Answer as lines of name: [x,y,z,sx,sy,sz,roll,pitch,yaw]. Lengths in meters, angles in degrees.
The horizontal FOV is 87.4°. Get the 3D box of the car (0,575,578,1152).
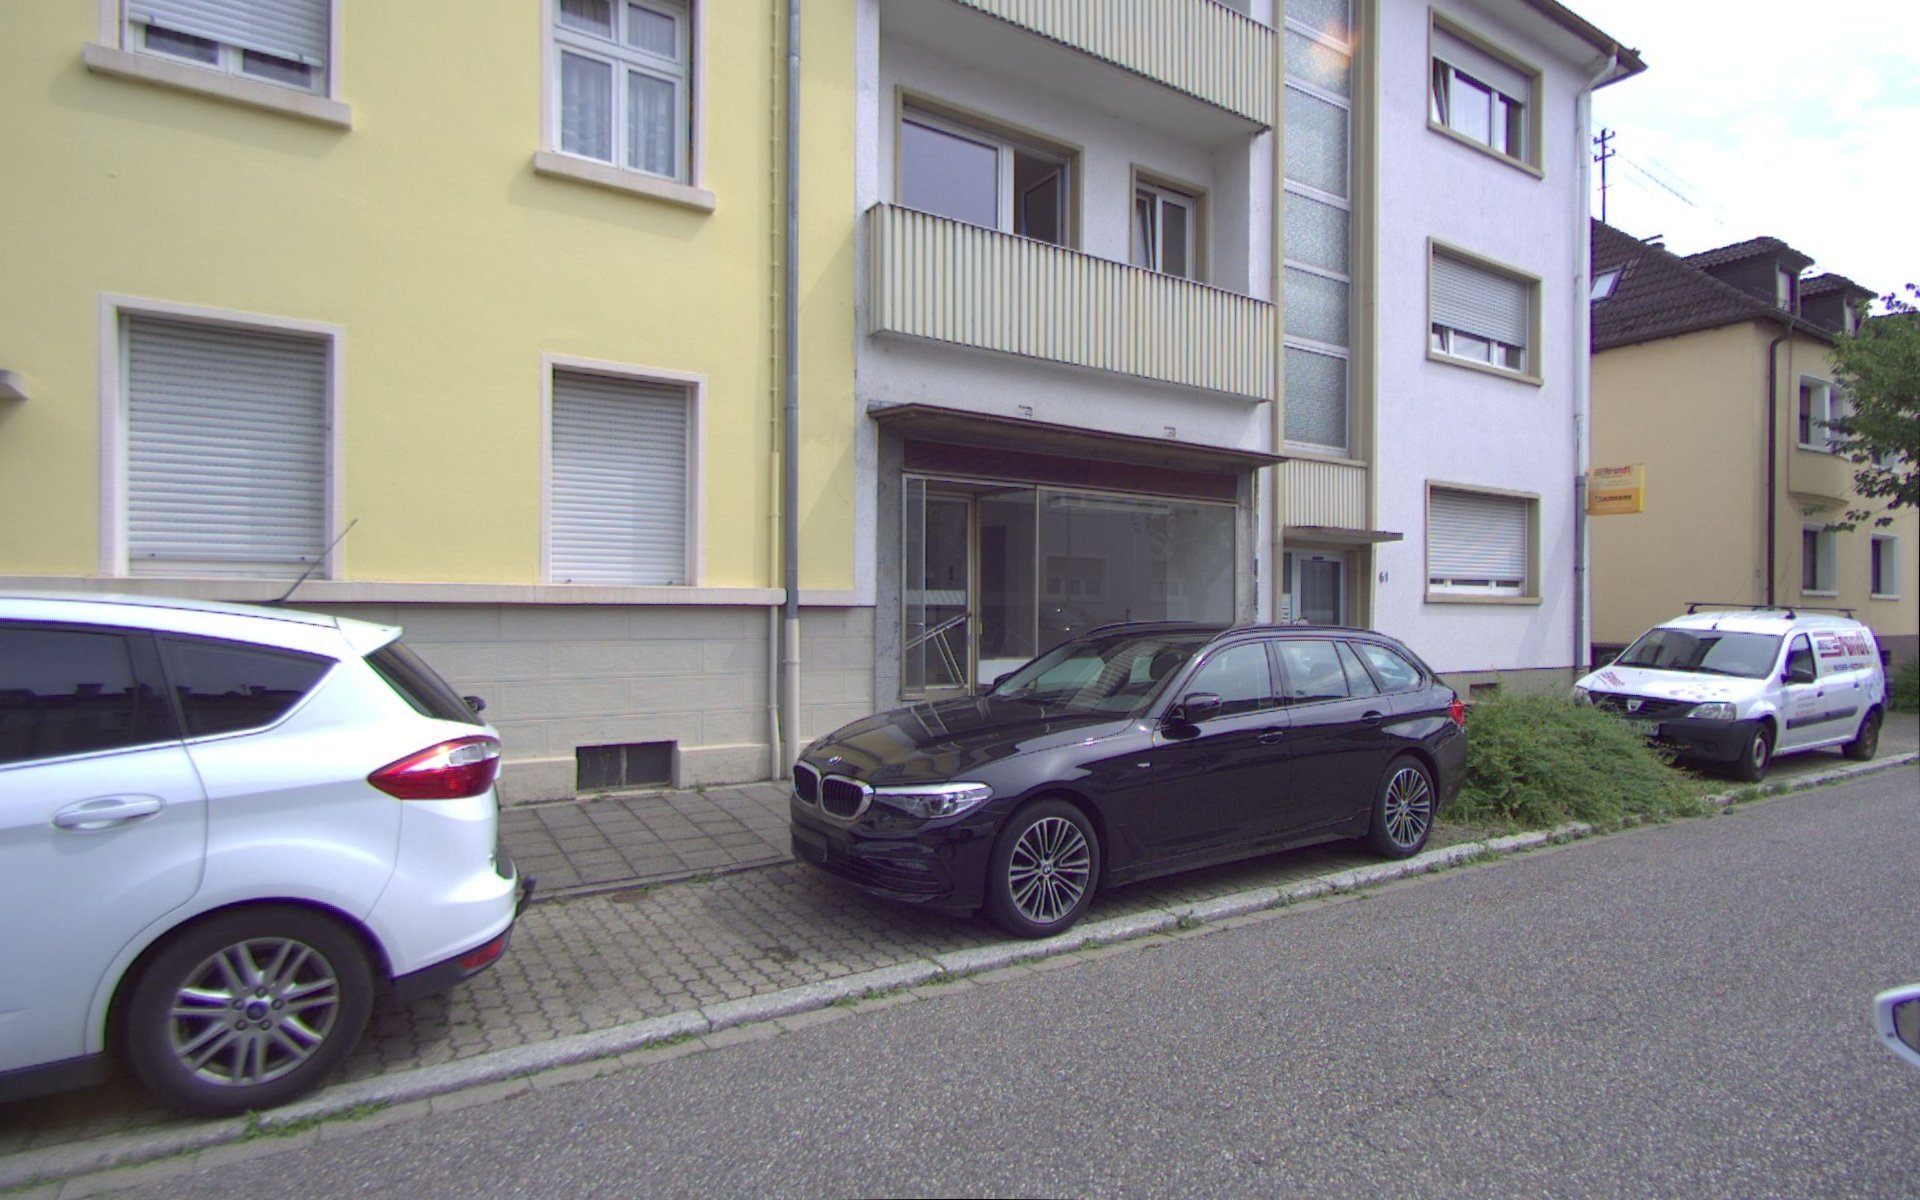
car: [-3.592,0.732,3.172,4.210,1.577,1.747,1,-2,-33]

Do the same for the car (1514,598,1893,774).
car: [8.282,0.853,11.103,4.334,1.602,1.908,1,-3,-32]

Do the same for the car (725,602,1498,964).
car: [1.145,0.815,6.238,4.759,1.512,1.780,1,-1,-33]
